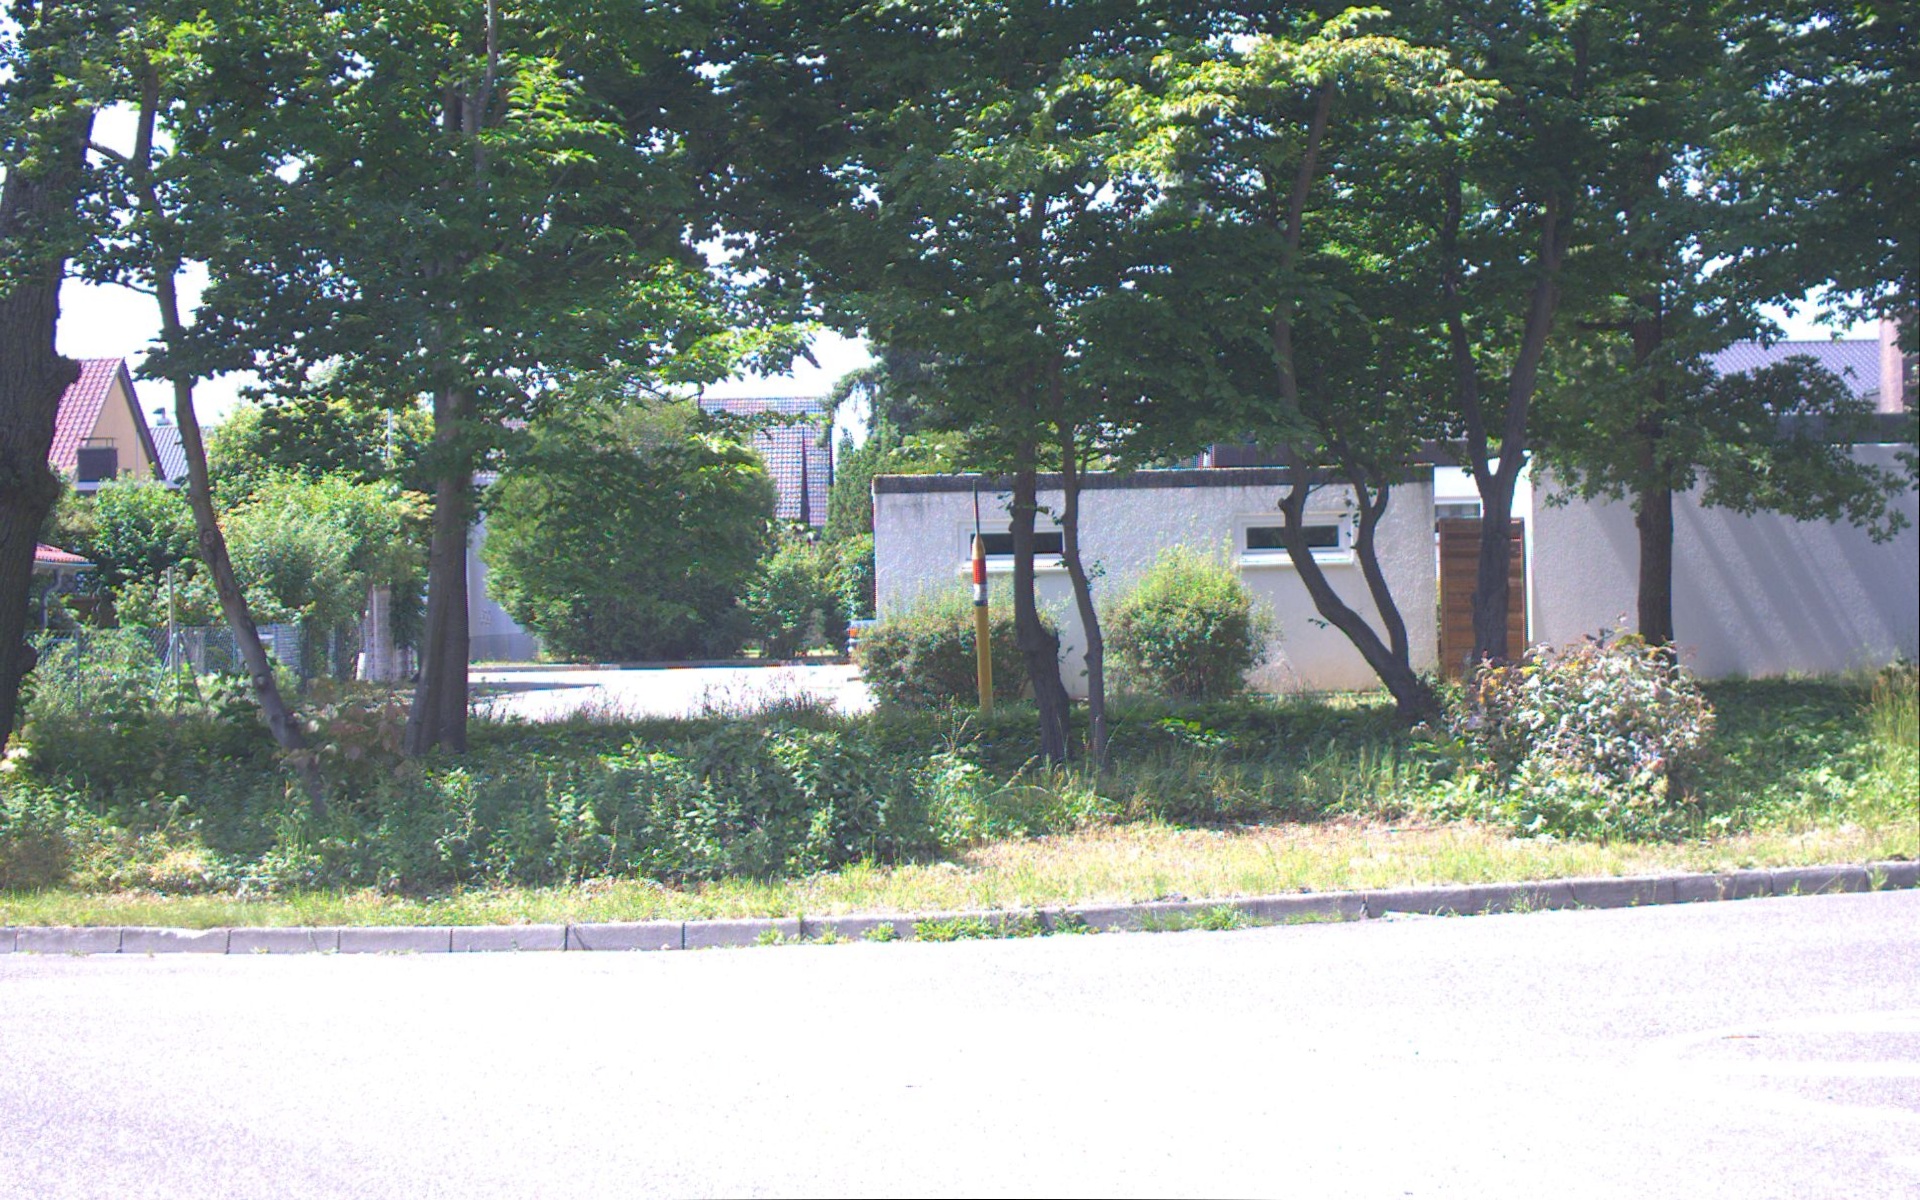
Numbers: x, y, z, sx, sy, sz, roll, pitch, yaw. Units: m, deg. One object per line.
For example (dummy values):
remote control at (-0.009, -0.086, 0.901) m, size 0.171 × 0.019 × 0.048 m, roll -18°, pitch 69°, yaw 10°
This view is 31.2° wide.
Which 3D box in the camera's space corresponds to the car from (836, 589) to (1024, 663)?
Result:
car at (-0.554, 0.451, 61.566) m, size 3.267 × 1.249 × 1.573 m, roll -1°, pitch 0°, yaw -4°

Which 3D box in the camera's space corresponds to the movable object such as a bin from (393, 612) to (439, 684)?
movable object such as a bin at (-8.535, 0.753, 53.957) m, size 0.657 × 1.108 × 0.457 m, roll -1°, pitch 0°, yaw -4°
